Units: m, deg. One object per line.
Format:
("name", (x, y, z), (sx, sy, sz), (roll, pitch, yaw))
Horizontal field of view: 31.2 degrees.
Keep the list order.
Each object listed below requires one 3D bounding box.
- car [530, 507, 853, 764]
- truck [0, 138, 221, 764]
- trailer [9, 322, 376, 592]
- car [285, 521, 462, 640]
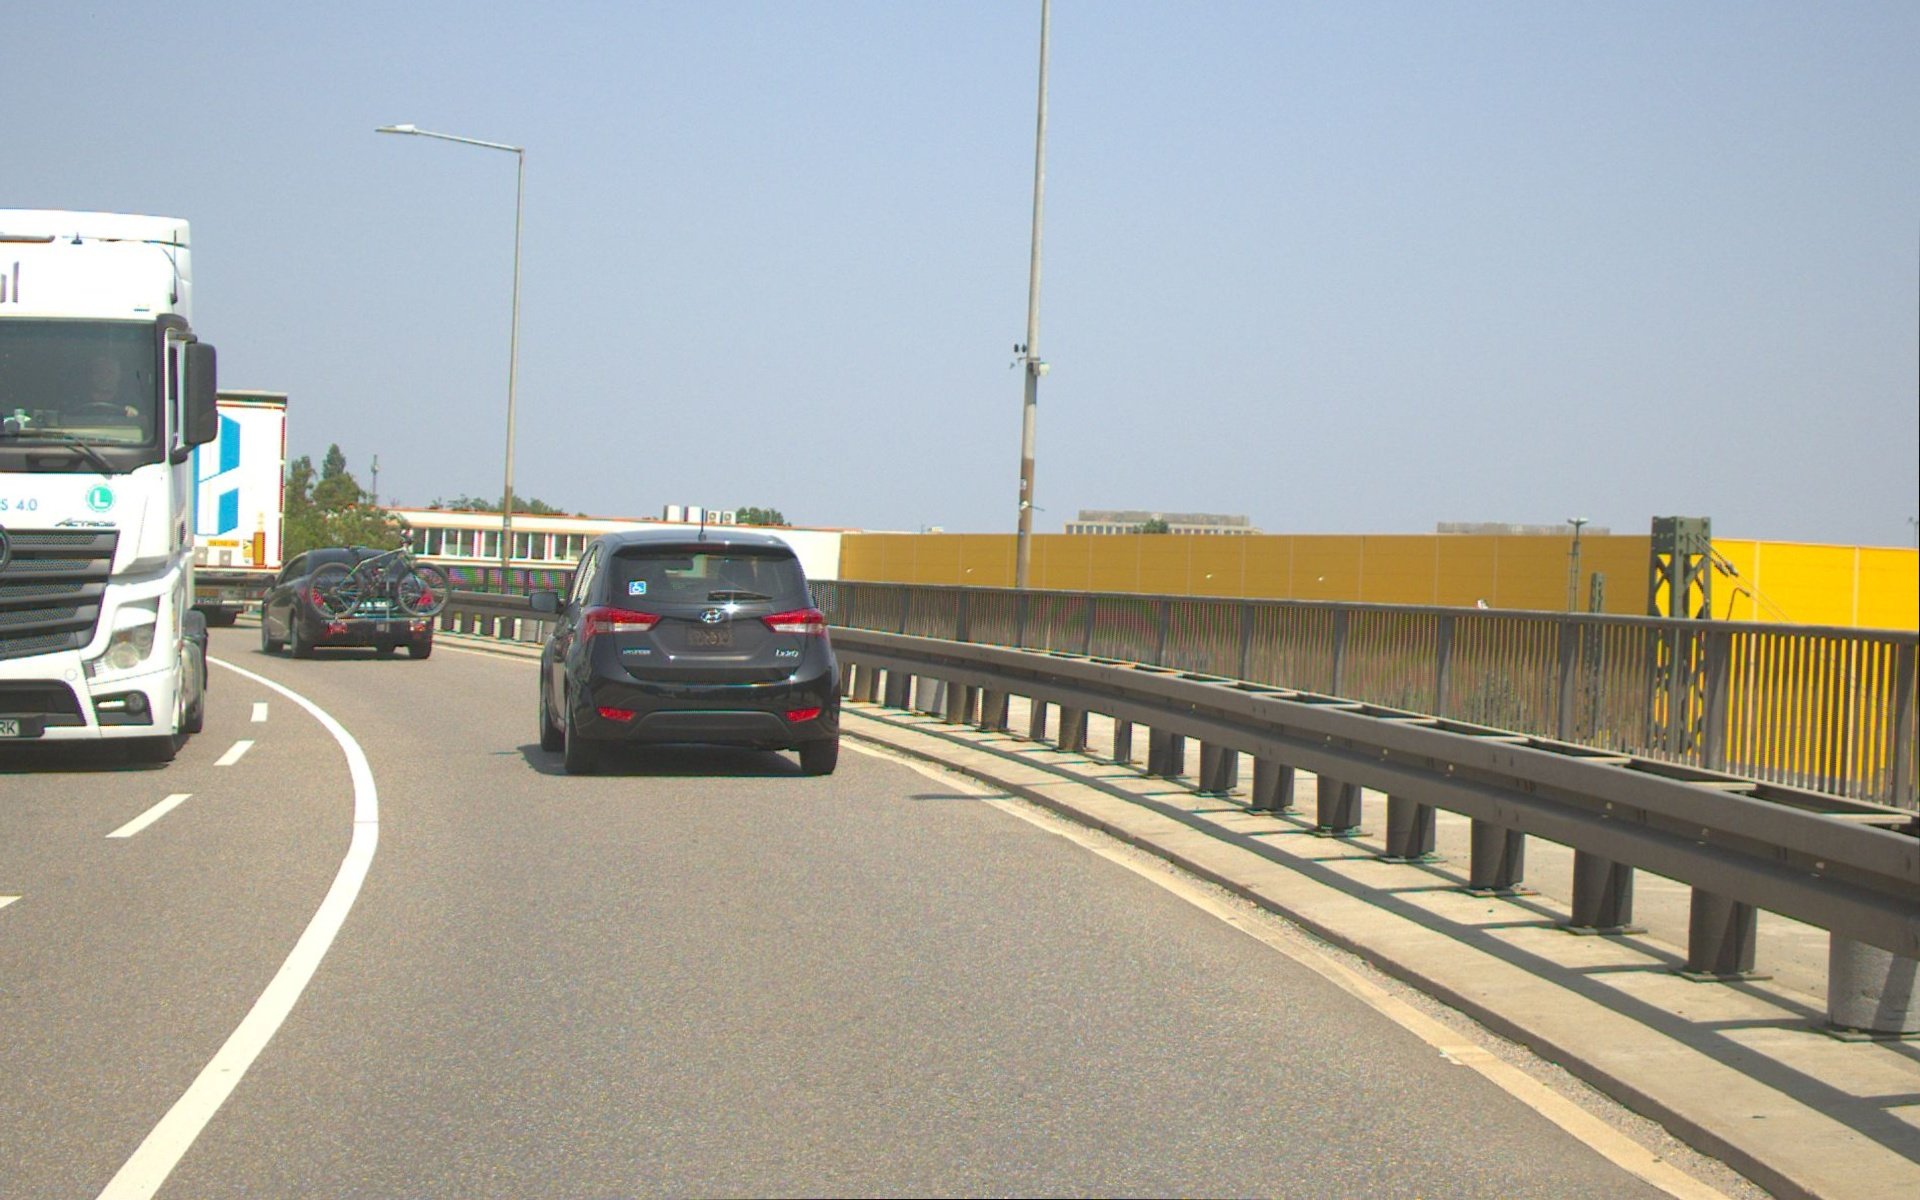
("car", (-1.909, 0.175, 23.358), (1.921, 1.568, 3.893), (1, 1, -8))
("truck", (-6.876, -1.039, 24.921), (2.705, 3.978, 6.188), (1, 1, -10))
("trailer", (-14.106, -2.522, 62.164), (3.569, 4.369, 11.443), (1, 1, -28))
("car", (-7.626, -0.283, 44.442), (2.011, 1.424, 3.778), (1, 1, -13))
